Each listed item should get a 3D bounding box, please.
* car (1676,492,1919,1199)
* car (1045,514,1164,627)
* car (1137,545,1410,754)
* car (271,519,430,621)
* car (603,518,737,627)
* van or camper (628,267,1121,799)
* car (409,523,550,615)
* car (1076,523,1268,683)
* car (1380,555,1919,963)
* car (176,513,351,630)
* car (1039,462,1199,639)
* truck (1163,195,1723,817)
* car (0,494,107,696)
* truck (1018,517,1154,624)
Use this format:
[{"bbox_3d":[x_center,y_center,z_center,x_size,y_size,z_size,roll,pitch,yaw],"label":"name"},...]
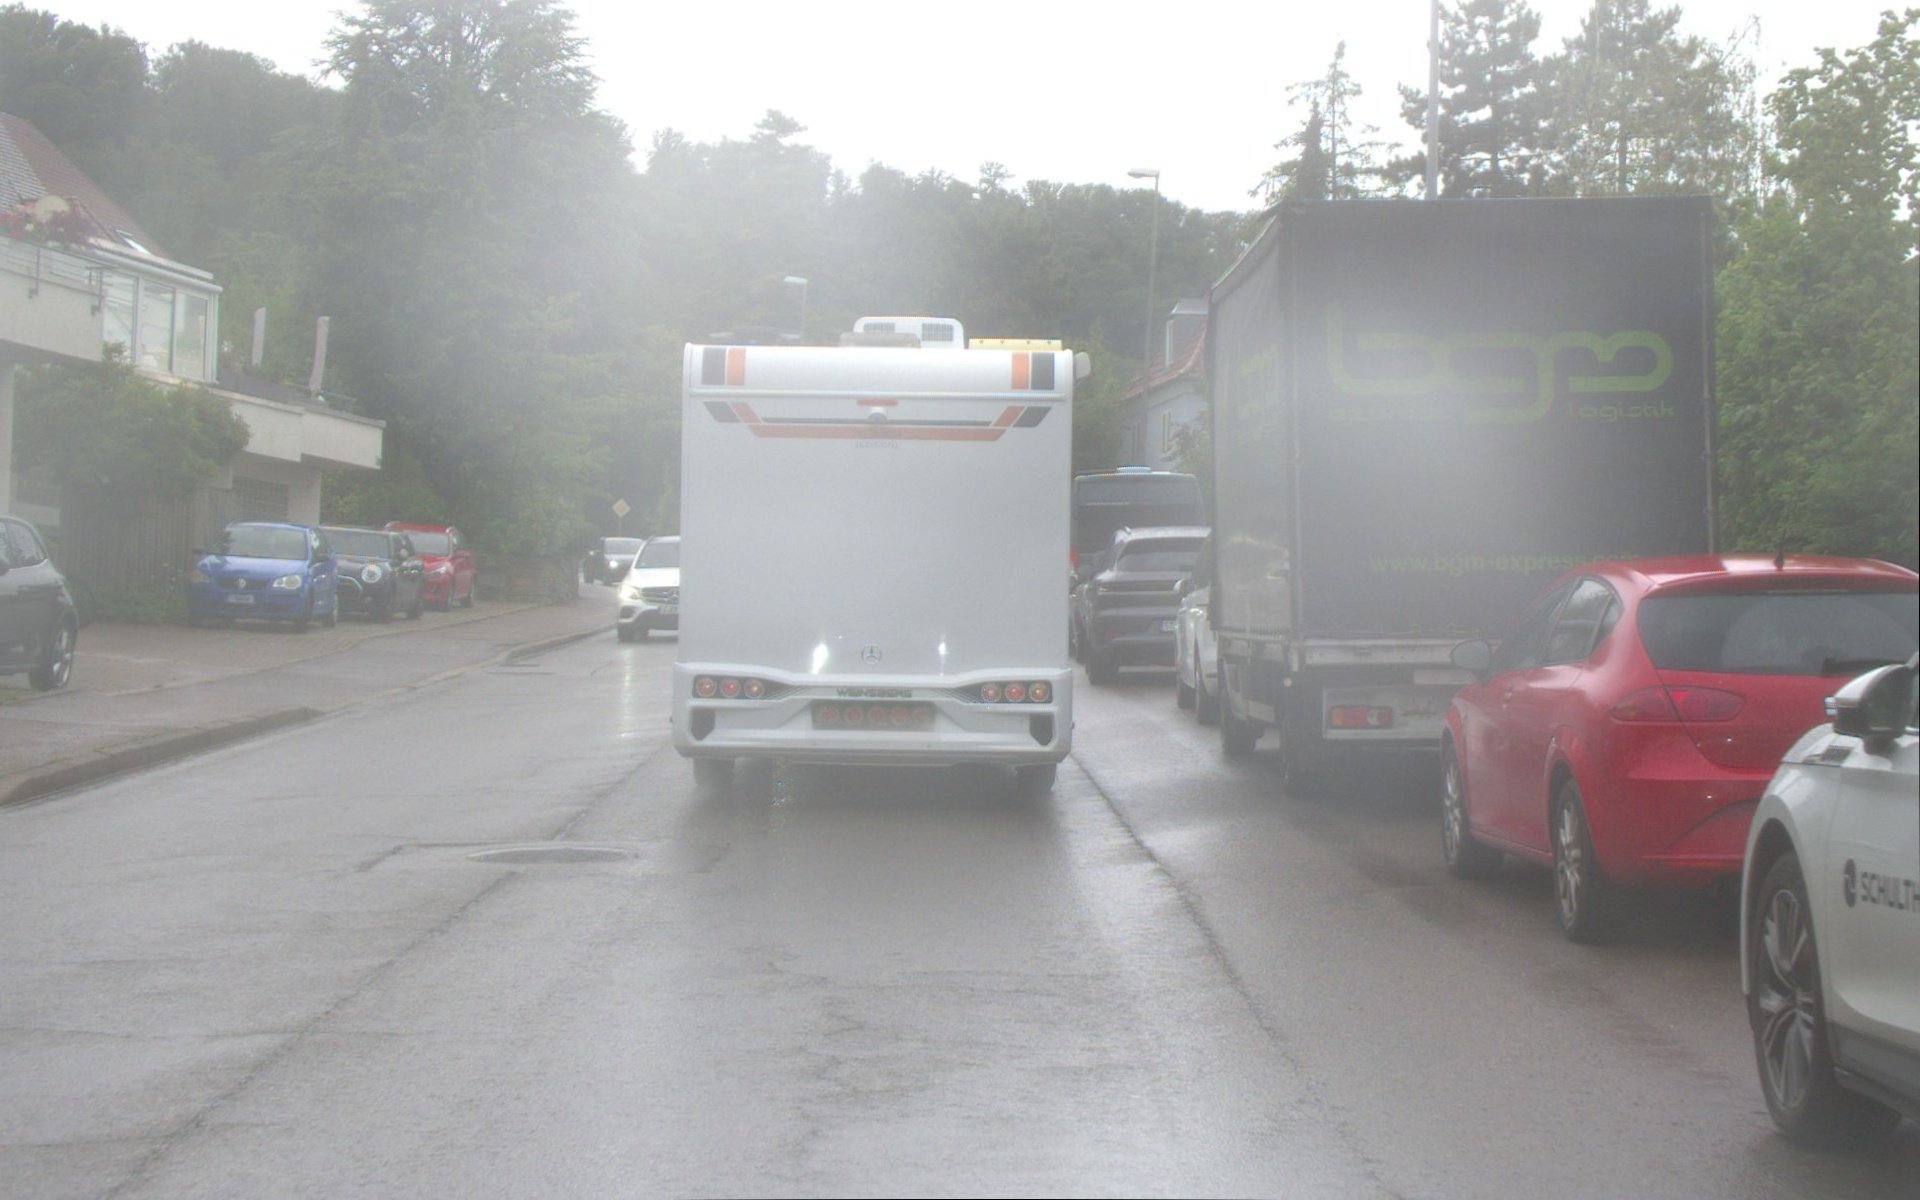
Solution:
[{"bbox_3d":[2.915,0.570,7.214,1.759,1.599,4.667,0,1,-1],"label":"car"},{"bbox_3d":[2.432,-0.523,58.891,1.827,1.836,5.270,0,1,0],"label":"car"},{"bbox_3d":[2.668,0.368,30.470,1.846,1.678,5.639,0,1,-1],"label":"car"},{"bbox_3d":[-9.393,-0.478,53.217,1.633,1.391,4.239,4,1,0],"label":"car"},{"bbox_3d":[-4.546,-0.465,54.465,1.906,1.602,4.429,1,1,-3],"label":"car"},{"bbox_3d":[-0.473,-0.336,21.922,2.616,2.843,6.031,2,-1,0],"label":"van or camper"},{"bbox_3d":[-8.532,-0.573,61.409,1.774,1.432,4.588,5,1,0],"label":"car"},{"bbox_3d":[2.296,-0.004,38.335,1.936,1.666,4.694,0,1,1],"label":"car"},{"bbox_3d":[3.068,0.532,14.582,1.832,1.433,4.987,0,1,-1],"label":"car"},{"bbox_3d":[-9.580,-0.430,47.533,1.607,1.429,3.959,4,1,-1],"label":"car"},{"bbox_3d":[2.322,-0.753,51.575,2.031,2.497,5.956,0,1,-1],"label":"car"},{"bbox_3d":[2.823,-0.541,22.392,2.436,3.324,7.965,0,1,-1],"label":"truck"},{"bbox_3d":[-8.609,-0.107,28.522,1.689,1.583,4.196,7,1,2],"label":"car"},{"bbox_3d":[2.325,-0.592,65.251,2.113,1.845,6.619,2,1,-1],"label":"truck"}]
